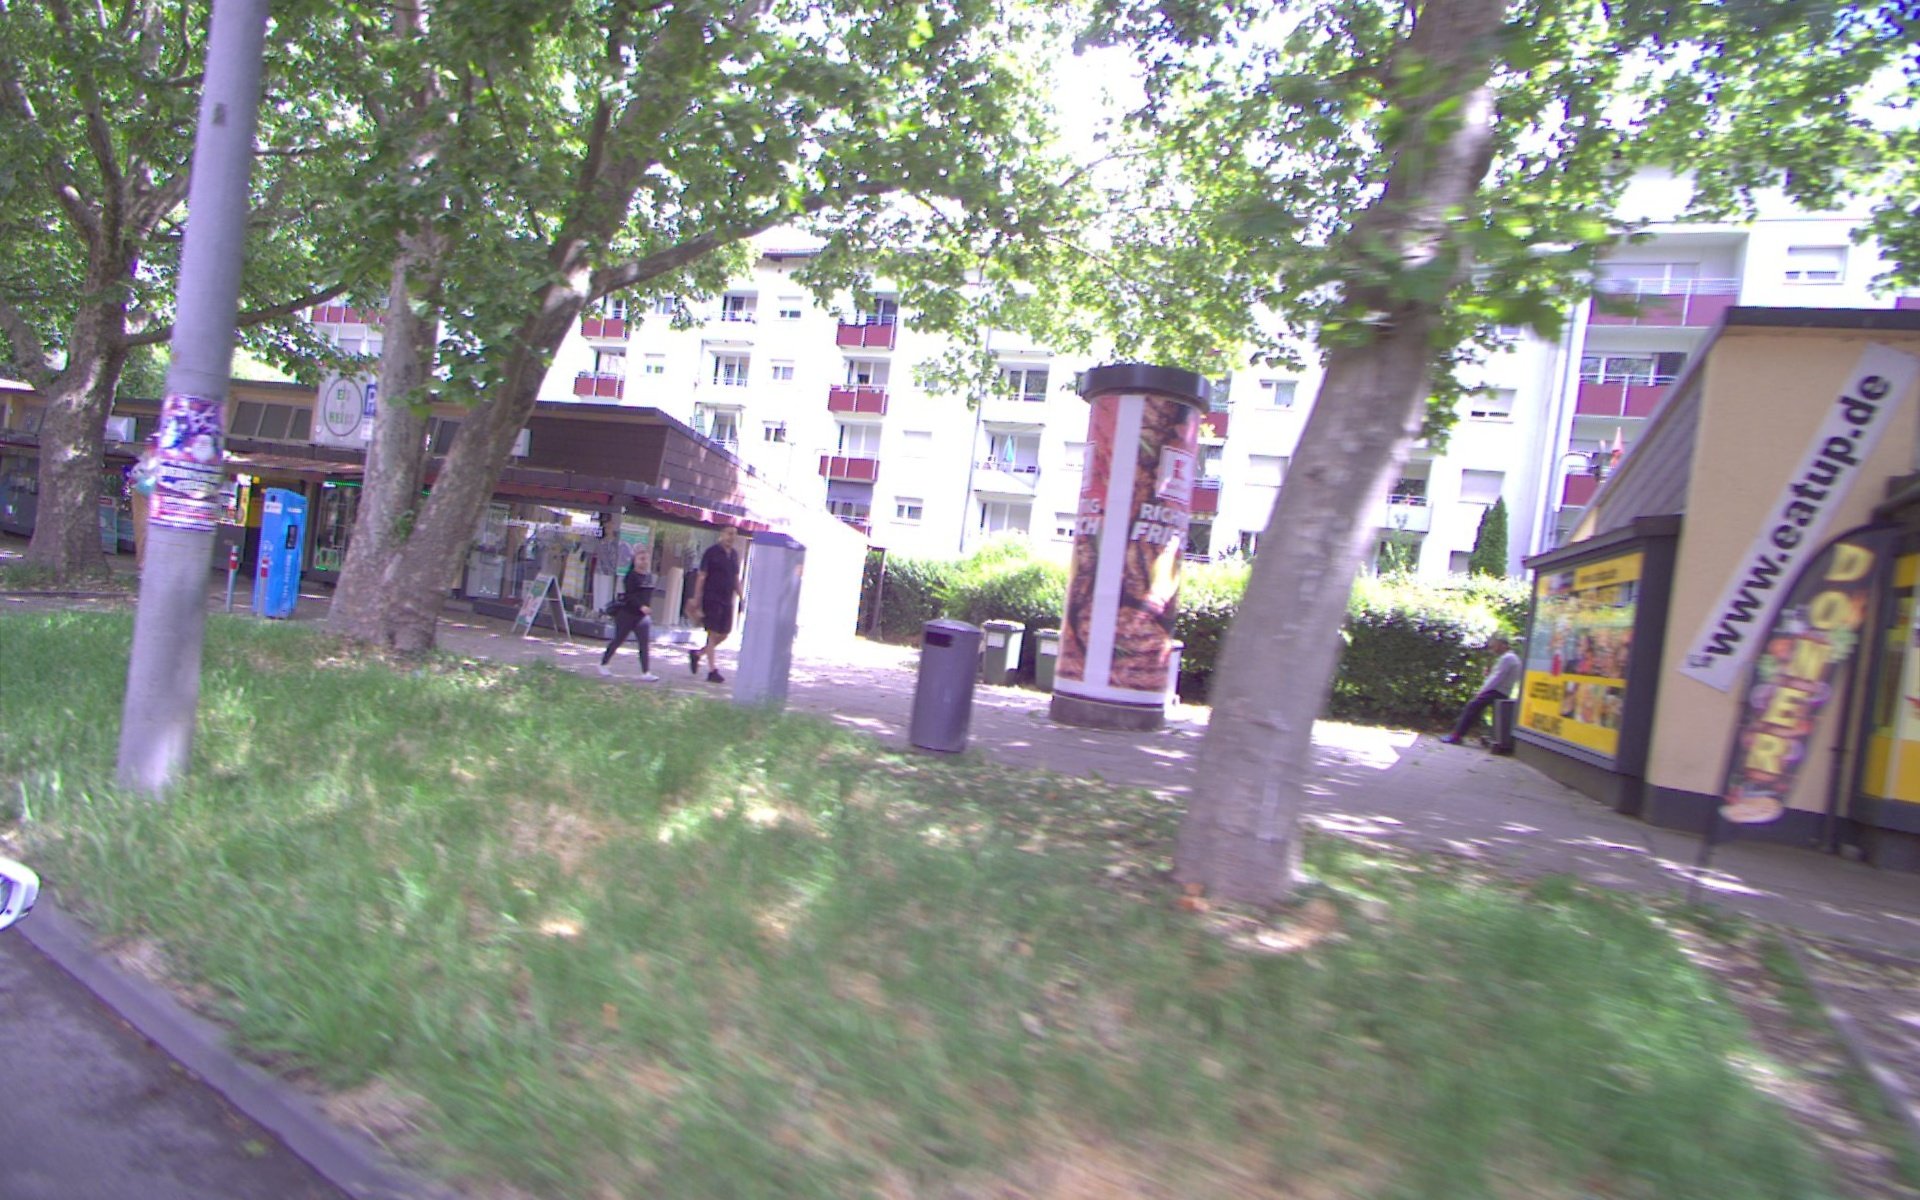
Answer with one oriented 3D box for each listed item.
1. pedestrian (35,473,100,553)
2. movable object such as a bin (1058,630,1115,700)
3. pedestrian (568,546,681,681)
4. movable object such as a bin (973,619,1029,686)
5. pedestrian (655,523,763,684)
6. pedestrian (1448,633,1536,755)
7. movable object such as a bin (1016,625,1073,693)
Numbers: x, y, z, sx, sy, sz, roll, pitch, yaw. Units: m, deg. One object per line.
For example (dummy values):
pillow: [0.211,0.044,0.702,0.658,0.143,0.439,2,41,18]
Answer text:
pedestrian: [-22.037,-2.123,24.849,0.911,1.824,0.604,5,1,-14]
movable object such as a bin: [2.059,1.055,16.353,0.636,1.046,0.625,7,1,28]
pedestrian: [-3.986,0.163,11.946,1.011,1.465,0.626,7,0,32]
movable object such as a bin: [0.686,0.883,16.814,0.636,1.029,0.625,7,1,28]
pedestrian: [-3.157,0.041,12.686,0.926,1.908,0.744,6,2,31]
pedestrian: [7.464,1.301,14.168,0.892,1.554,0.752,7,0,25]
movable object such as a bin: [1.390,0.971,16.559,0.636,1.029,0.625,7,1,28]
